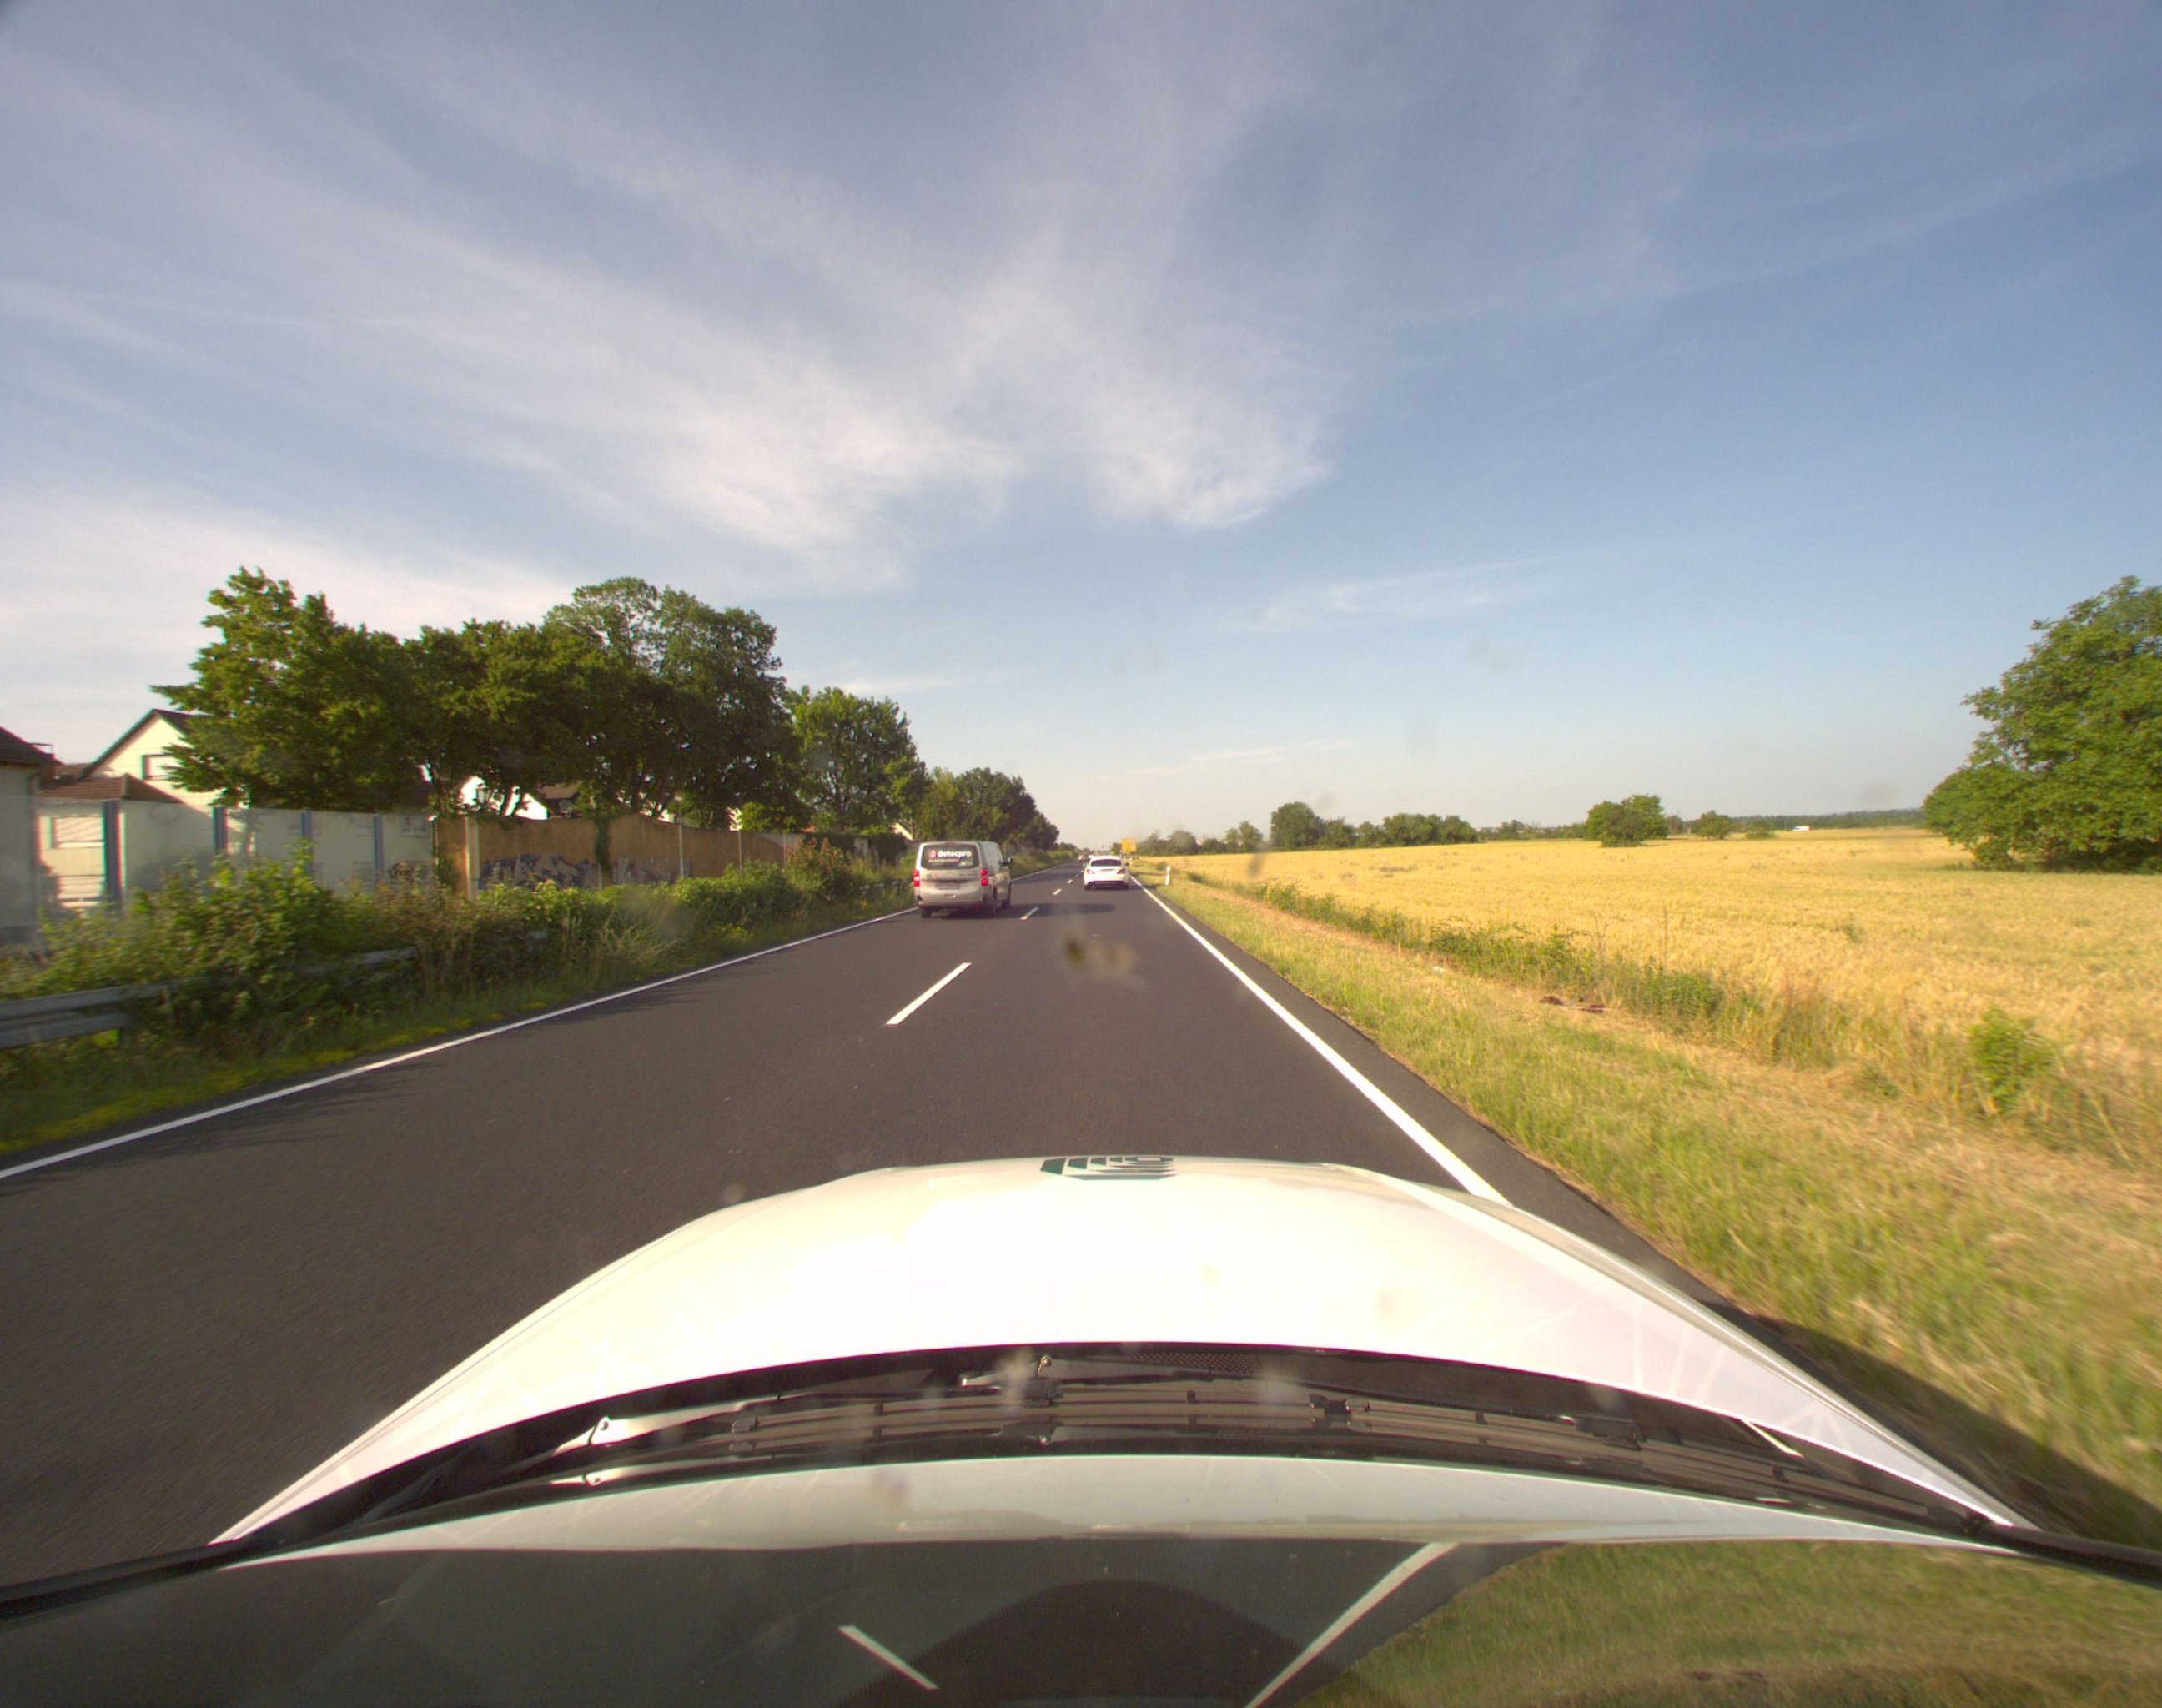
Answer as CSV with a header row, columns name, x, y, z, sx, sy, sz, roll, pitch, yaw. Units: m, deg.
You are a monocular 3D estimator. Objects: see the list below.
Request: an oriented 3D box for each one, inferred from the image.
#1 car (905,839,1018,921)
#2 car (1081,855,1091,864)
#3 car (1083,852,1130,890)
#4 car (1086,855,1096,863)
name,x,y,z,sx,sy,sz,roll,pitch,yaw
car,-2.973,0.599,21.432,2.017,1.892,4.962,0,0,3
car,0.874,1.006,140.273,1.710,1.492,3.586,0,0,2
car,1.117,0.705,35.165,1.887,1.509,4.001,-1,0,2
car,2.002,1.006,165.943,1.871,1.651,3.664,0,0,0
